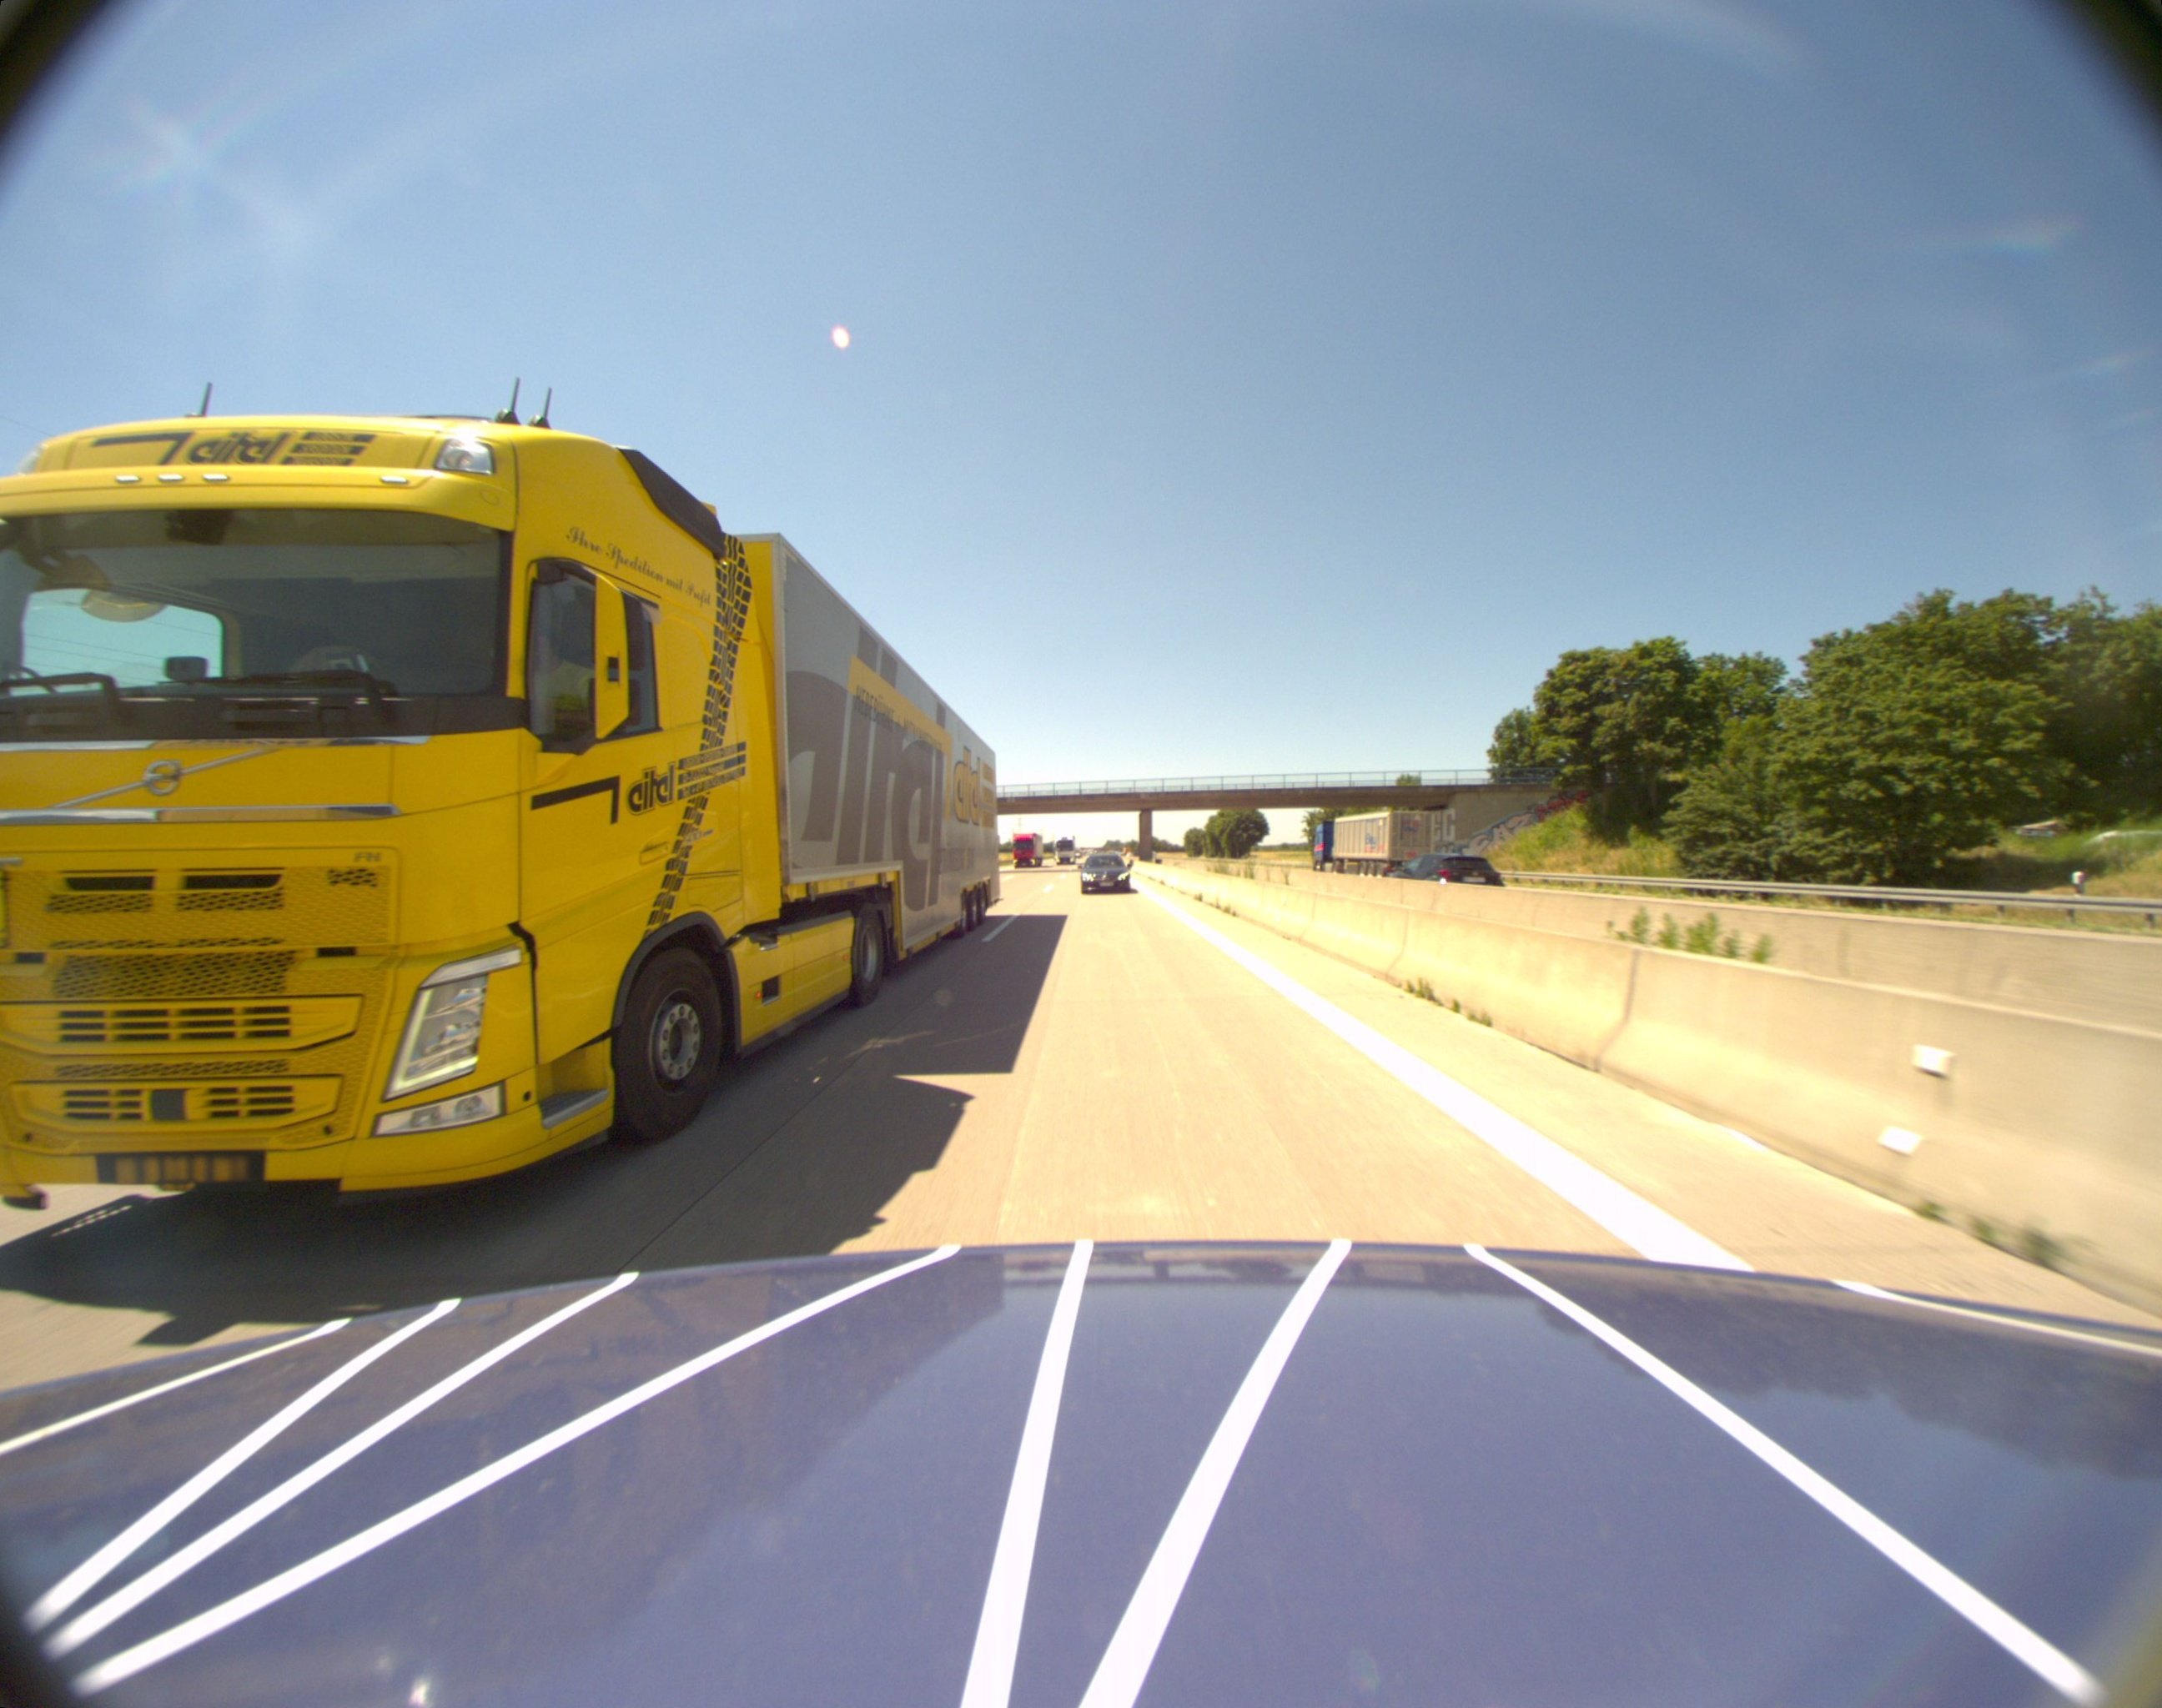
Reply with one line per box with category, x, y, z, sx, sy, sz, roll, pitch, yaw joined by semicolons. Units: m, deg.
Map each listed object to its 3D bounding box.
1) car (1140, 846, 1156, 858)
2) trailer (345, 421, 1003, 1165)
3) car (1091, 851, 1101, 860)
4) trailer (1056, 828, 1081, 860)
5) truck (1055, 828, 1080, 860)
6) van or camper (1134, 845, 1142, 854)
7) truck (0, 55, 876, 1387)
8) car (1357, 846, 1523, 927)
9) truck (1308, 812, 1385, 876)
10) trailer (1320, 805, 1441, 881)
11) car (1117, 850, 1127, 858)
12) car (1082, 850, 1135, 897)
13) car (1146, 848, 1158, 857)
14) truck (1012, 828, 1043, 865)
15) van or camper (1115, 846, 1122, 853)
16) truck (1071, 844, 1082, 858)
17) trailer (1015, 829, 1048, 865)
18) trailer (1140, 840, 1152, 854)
car;11.362;-0.374;129.518;2.311;2.002;5.654;-2;1;1
trailer;-3.117;-0.411;11.999;1.998;4.230;15.197;-2;1;0
car;3.047;0.239;154.167;1.998;1.781;4.300;-2;1;1
trailer;-1.675;-1.386;108.070;2.959;4.122;12.024;-2;1;1
truck;-1.763;-1.322;102.886;2.959;4.122;6.151;-2;1;1
van or camper;16.221;-1.299;216.762;1.942;2.207;4.796;-2;1;1
truck;-3.161;-0.408;5.048;1.998;4.230;5.194;-2;1;0
car;9.583;0.751;20.902;1.998;1.851;5.466;-2;1;1
truck;18.175;-0.675;52.471;2.989;4.066;6.464;1;1;1
trailer;18.080;-0.653;47.064;2.989;4.066;11.604;1;1;1
car;11.494;0.003;212.981;2.258;2.002;5.978;-2;1;0
car;1.008;0.692;29.145;1.848;1.576;3.939;-2;1;1
car;15.834;-0.265;170.609;2.258;1.947;5.684;0;1;0
truck;-6.175;-0.882;88.970;2.959;4.122;6.151;-2;1;1
van or camper;12.506;-1.592;255.249;1.998;2.284;6.469;-2;1;1
truck;-1.271;-0.959;226.738;2.959;4.122;10.016;-2;1;1
trailer;-6.091;-0.853;95.544;2.959;4.122;13.808;-2;1;1
trailer;19.484;-2.044;228.527;2.684;3.946;13.005;0;1;0
